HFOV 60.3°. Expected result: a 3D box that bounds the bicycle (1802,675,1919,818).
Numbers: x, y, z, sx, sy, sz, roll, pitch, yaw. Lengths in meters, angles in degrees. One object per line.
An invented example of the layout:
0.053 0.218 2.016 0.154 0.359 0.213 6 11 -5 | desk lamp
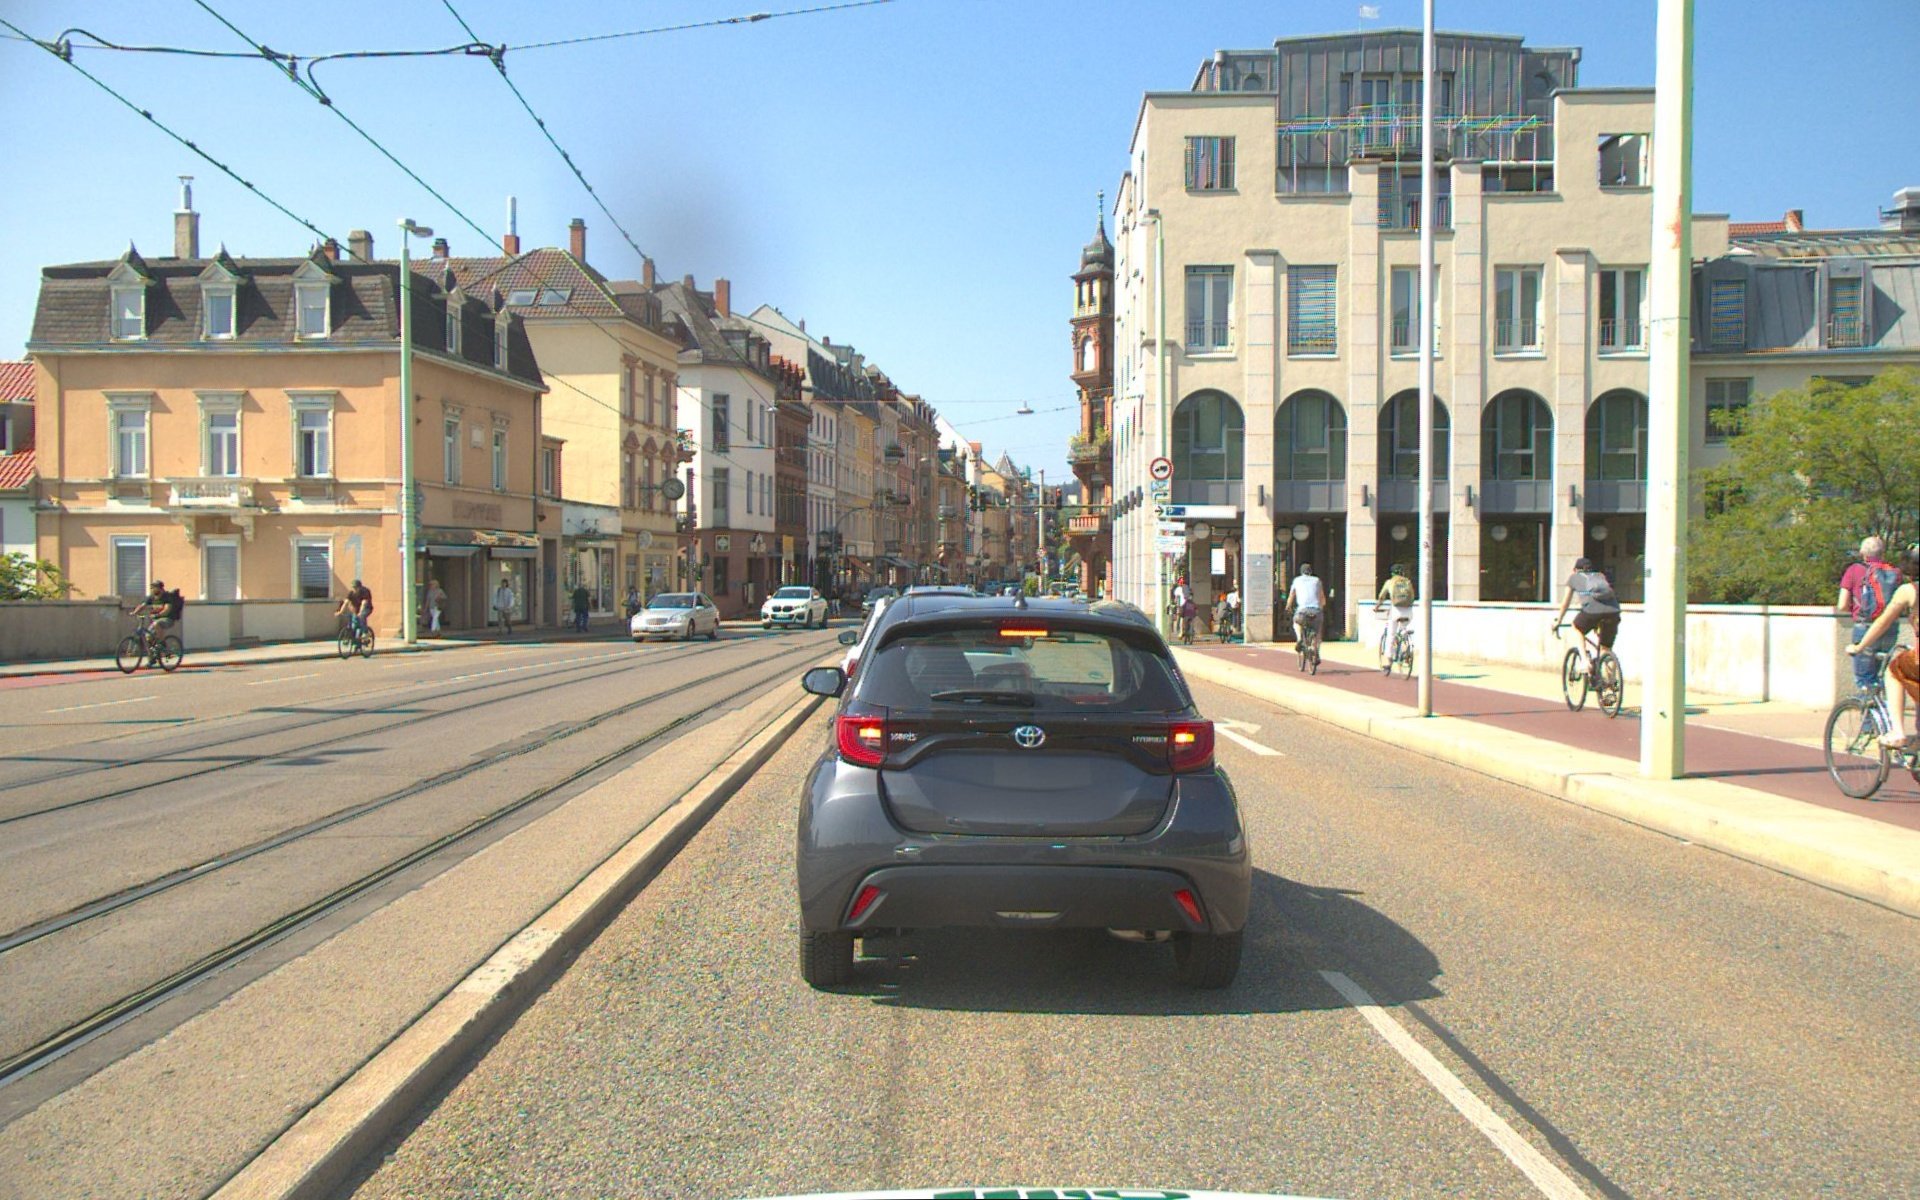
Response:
6.037 0.911 10.326 0.581 0.779 1.866 -1 0 -1 | bicycle

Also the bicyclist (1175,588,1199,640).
6.263 0.368 45.632 0.523 1.407 0.669 -2 0 -1 | bicyclist

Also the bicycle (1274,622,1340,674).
5.742 0.786 27.439 0.582 0.779 1.865 -1 0 -3 | bicycle

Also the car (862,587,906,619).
-3.914 0.150 85.536 1.756 1.572 3.923 0 0 6 | car

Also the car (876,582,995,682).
-0.435 0.499 28.407 1.859 1.557 3.999 1 0 -1 | car

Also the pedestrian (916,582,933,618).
-2.628 0.010 123.234 1.030 2.632 1.501 4 0 -1 | pedestrian

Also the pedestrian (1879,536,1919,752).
8.100 0.347 13.325 0.739 1.748 1.073 -2 0 -1 | pedestrian

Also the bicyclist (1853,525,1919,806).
6.033 0.385 10.245 0.592 1.679 0.702 -1 0 0 | bicyclist

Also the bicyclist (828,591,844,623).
-6.588 0.380 87.611 0.690 1.679 0.622 2 1 8 | bicyclist

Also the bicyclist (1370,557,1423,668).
6.738 0.185 25.555 0.575 1.679 0.701 -1 0 -3 | bicyclist

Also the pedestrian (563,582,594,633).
-13.177 0.261 57.168 0.746 1.682 0.712 4 0 6 | pedestrian

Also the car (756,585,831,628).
-6.507 0.241 65.086 1.951 1.614 4.656 0 0 7 | car

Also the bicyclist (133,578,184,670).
-14.980 0.442 30.940 0.614 1.679 0.622 2 1 0 | bicyclist

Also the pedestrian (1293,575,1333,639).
9.458 0.184 44.333 0.724 1.642 1.015 4 0 -1 | pedestrian

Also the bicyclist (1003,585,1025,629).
3.305 0.415 101.466 1.203 2.572 1.105 4 0 1 | bicyclist

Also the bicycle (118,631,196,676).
-14.991 0.993 30.924 0.608 0.728 1.771 2 1 -1 | bicycle

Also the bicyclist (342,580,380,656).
-13.632 0.406 37.643 0.614 1.679 0.622 2 1 0 | bicyclist

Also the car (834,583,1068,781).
-0.114 0.652 15.382 1.859 1.557 3.999 1 0 -1 | car

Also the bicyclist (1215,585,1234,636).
7.432 0.287 46.506 0.413 1.407 0.443 -2 0 -1 | bicyclist

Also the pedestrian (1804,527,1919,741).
8.182 0.288 14.767 0.724 1.833 1.015 -2 0 -1 | pedestrian

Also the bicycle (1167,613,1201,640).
6.772 0.798 49.939 0.939 0.779 0.418 -2 0 22 | bicycle

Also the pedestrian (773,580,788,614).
-9.598 -0.156 88.401 0.721 1.797 0.787 0 1 -1 | pedestrian

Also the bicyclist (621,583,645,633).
-11.333 0.279 57.315 0.614 1.679 0.622 2 1 8 | bicyclist

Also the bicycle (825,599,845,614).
-6.591 0.348 87.543 0.607 0.728 2.047 2 1 8 | bicycle

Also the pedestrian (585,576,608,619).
-14.171 -0.093 64.488 0.636 1.629 0.566 4 2 -1 | pedestrian

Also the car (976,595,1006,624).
2.408 0.694 126.740 1.952 2.048 4.002 4 0 3 | car

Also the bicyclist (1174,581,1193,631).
6.759 0.178 49.940 0.433 1.492 0.485 -2 0 21 | bicyclist

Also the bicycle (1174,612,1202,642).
6.277 0.745 45.588 0.503 0.779 1.660 -2 0 -1 | bicycle

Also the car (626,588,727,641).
-8.275 0.405 48.675 1.694 1.486 4.377 0 0 8 | car

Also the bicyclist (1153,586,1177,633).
7.770 0.355 62.678 0.687 1.724 0.924 4 0 -1 | bicyclist

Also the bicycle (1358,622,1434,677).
6.741 0.755 25.652 0.582 0.779 1.865 -1 0 -3 | bicycle

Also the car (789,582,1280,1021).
0.223 0.695 7.601 1.685 1.499 3.657 1 0 -1 | car

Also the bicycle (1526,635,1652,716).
6.891 0.809 18.210 0.582 0.779 1.830 -1 0 -3 | bicycle

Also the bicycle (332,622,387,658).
-13.661 0.907 37.672 0.608 0.728 1.731 2 1 -1 | bicycle

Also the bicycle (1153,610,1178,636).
7.768 0.853 62.649 0.690 0.898 1.525 4 0 0 | bicycle

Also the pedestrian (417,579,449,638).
-15.184 0.253 47.674 0.636 1.629 0.566 4 2 -1 | pedestrian

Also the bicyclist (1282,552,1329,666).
5.729 0.139 27.421 0.575 1.852 0.701 -1 0 -3 | bicyclist

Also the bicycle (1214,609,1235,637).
7.440 0.644 46.474 0.408 0.779 0.961 -2 0 -1 | bicycle

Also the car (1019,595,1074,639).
3.097 0.582 59.992 1.671 1.491 4.325 1 0 -1 | car

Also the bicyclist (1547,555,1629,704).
6.876 0.317 18.129 0.575 1.586 0.701 -1 0 -3 | bicyclist

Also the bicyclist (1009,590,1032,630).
4.100 0.670 111.932 1.202 2.572 1.106 4 0 10 | bicyclist

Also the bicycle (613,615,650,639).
-11.362 0.924 57.273 0.607 0.728 2.047 2 1 8 | bicycle

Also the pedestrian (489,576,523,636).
-14.248 0.191 51.872 0.721 1.796 0.787 4 0 -1 | pedestrian
